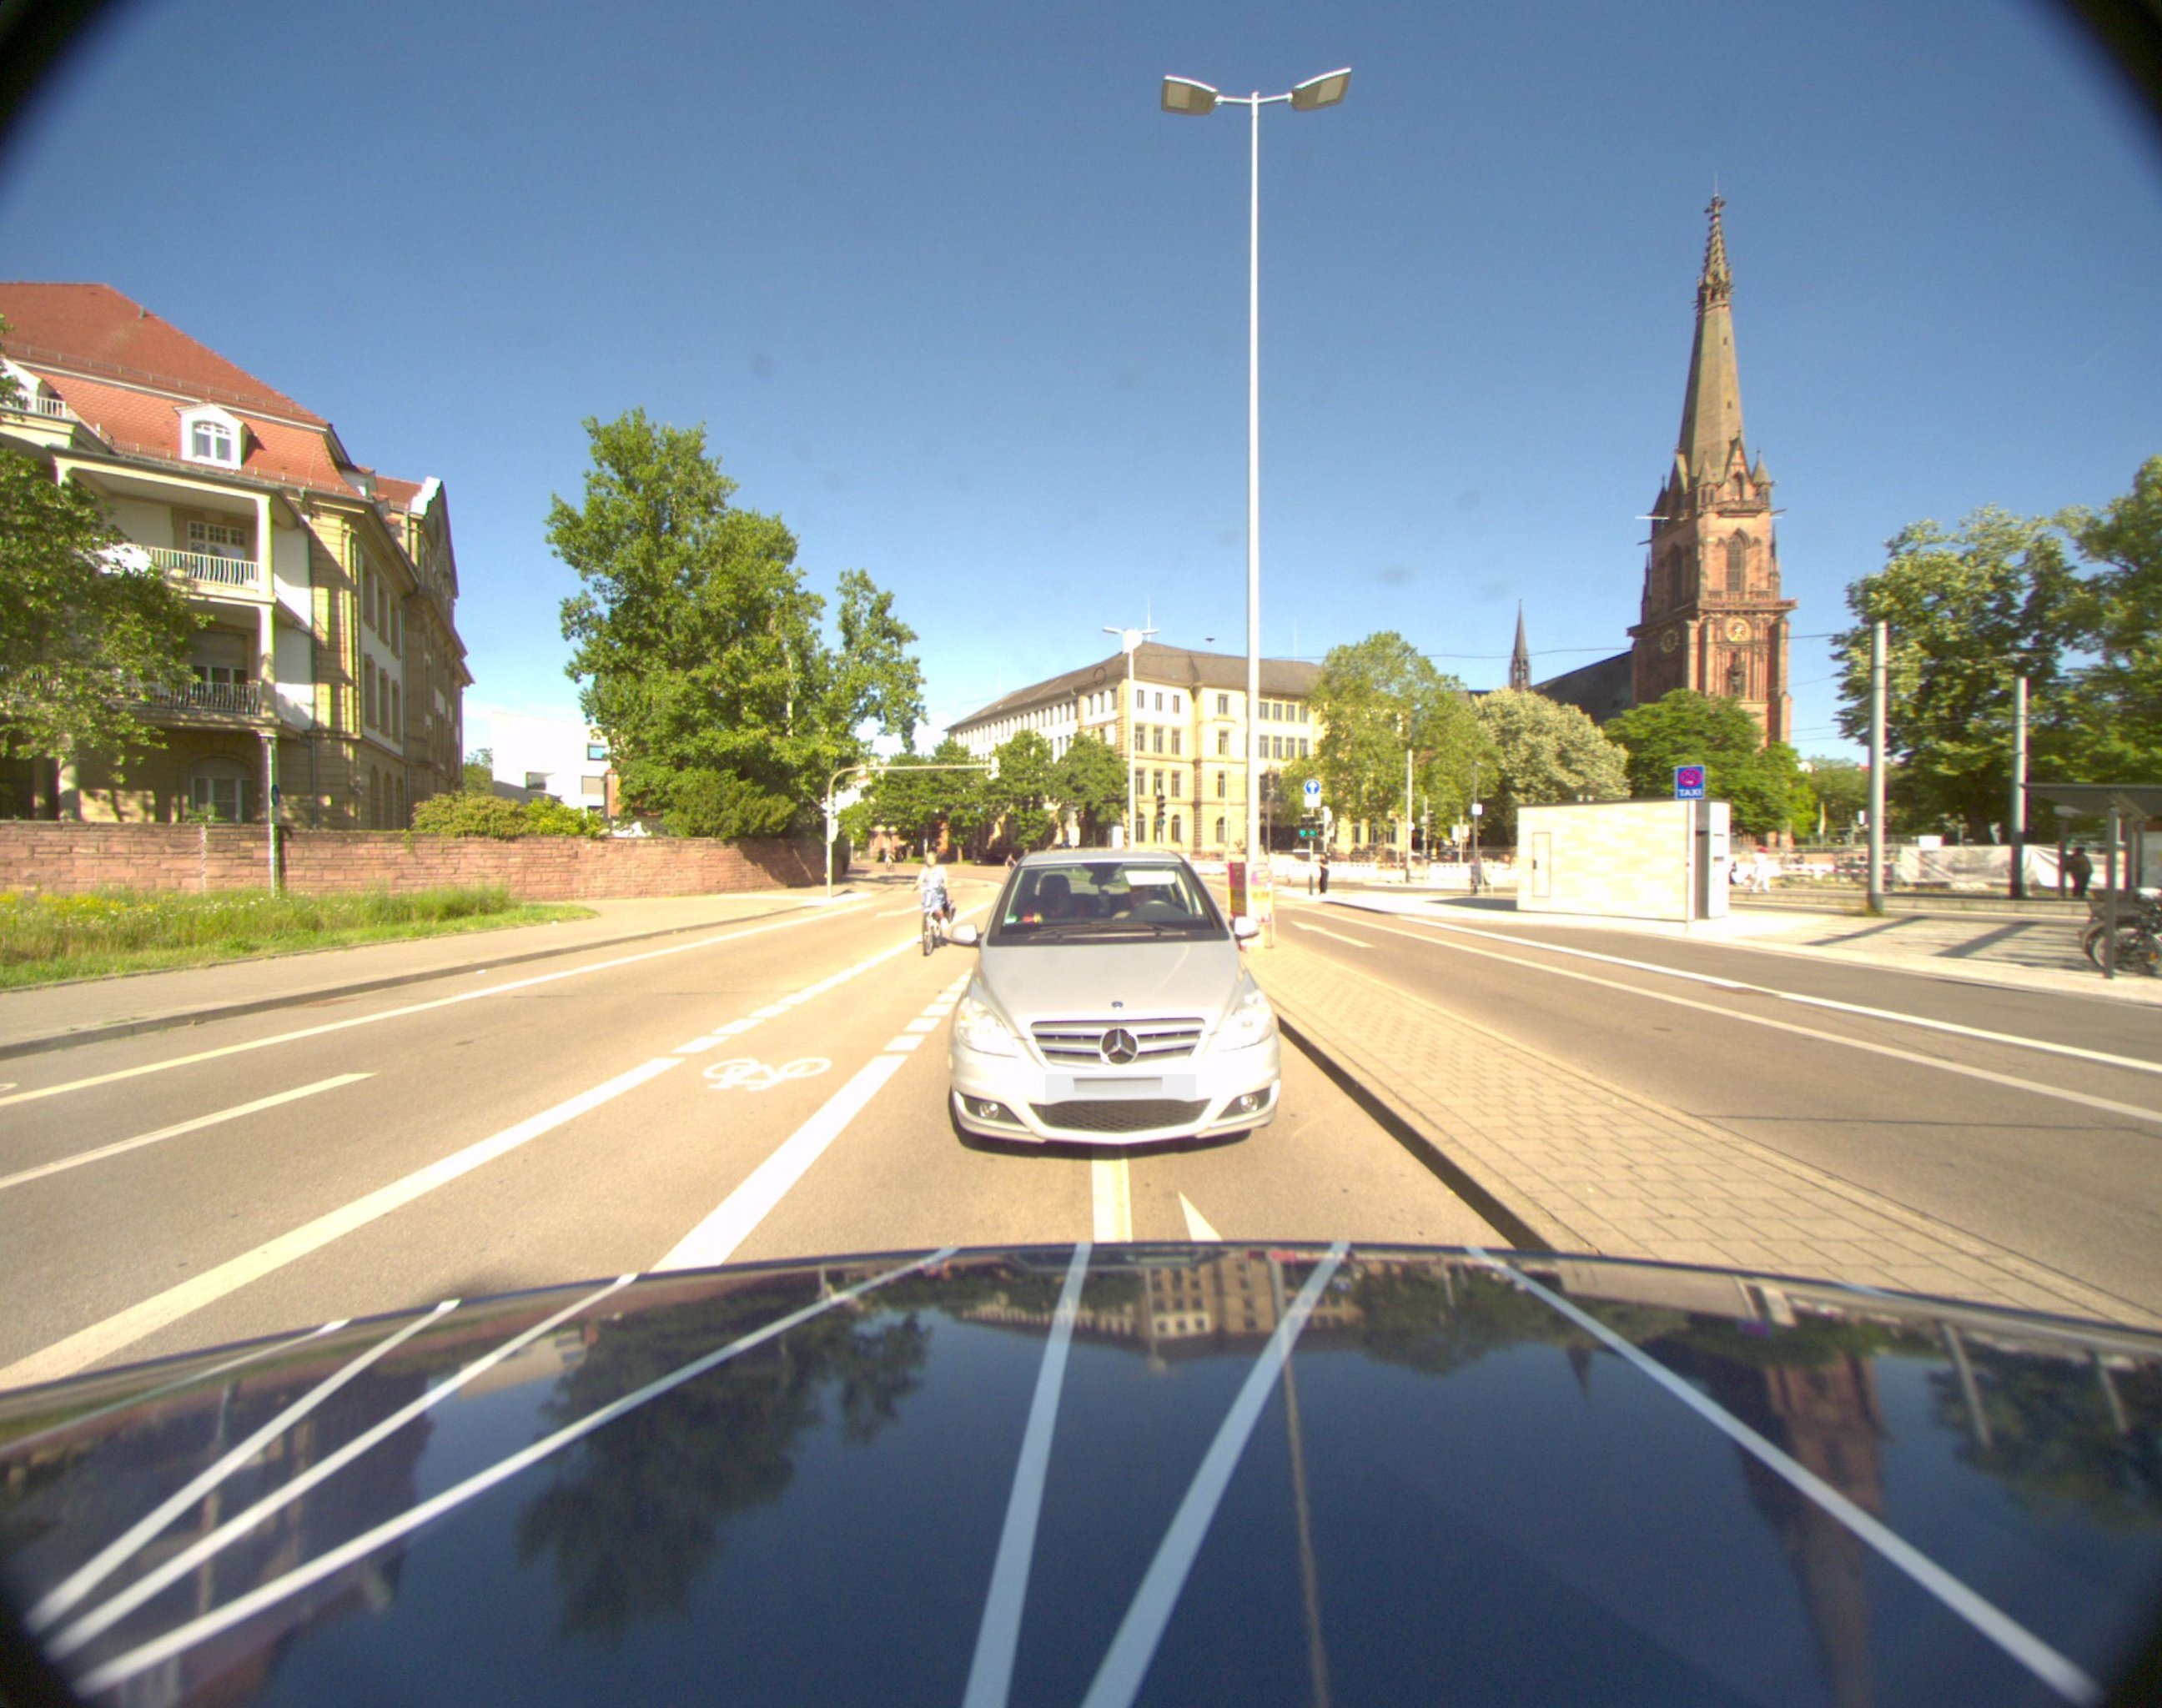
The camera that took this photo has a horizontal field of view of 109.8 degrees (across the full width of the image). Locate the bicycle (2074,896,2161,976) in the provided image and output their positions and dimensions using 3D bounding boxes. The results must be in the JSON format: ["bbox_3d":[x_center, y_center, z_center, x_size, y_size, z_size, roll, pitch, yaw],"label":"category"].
[{"bbox_3d":[15.145,1.163,10.440,0.569,1.032,1.783,1,1,-37],"label":"bicycle"}]

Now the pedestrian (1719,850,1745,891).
[{"bbox_3d":[27.838,0.729,32.481,0.540,1.712,0.680,3,-4,-34],"label":"pedestrian"}]

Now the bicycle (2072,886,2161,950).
[{"bbox_3d":[18.649,1.117,13.151,0.569,1.032,1.783,1,1,-37],"label":"bicycle"}]

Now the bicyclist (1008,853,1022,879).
[{"bbox_3d":[-3.664,0.650,42.043,0.643,1.436,0.953,-1,0,1],"label":"bicyclist"}]

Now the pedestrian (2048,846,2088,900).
[{"bbox_3d":[30.614,0.581,23.571,0.567,1.645,0.518,-2,1,1],"label":"pedestrian"}]

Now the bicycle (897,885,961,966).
[{"bbox_3d":[-2.528,1.155,12.845,0.642,1.158,1.968,-1,1,1],"label":"bicycle"}]

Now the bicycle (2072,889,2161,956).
[{"bbox_3d":[17.692,1.140,12.424,0.569,1.032,1.783,1,1,-37],"label":"bicycle"}]

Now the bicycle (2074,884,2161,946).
[{"bbox_3d":[19.134,1.105,13.496,0.569,1.032,1.783,1,1,-37],"label":"bicycle"}]

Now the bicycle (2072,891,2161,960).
[{"bbox_3d":[17.167,1.151,12.012,0.569,1.032,1.783,1,1,-37],"label":"bicycle"}]

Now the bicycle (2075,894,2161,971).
[{"bbox_3d":[15.699,1.151,10.853,0.569,1.032,1.783,1,1,-37],"label":"bicycle"}]

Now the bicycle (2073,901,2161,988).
[{"bbox_3d":[14.017,1.179,9.591,0.569,1.032,1.783,1,1,-37],"label":"bicycle"}]

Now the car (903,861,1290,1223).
[{"bbox_3d":[0.123,0.899,5.841,1.770,1.584,4.638,-1,1,1],"label":"car"}]

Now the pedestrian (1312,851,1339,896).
[{"bbox_3d":[9.276,0.741,28.872,0.789,1.671,0.648,-2,1,2],"label":"pedestrian"}]

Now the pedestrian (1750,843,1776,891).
[{"bbox_3d":[25.238,0.492,28.117,0.537,1.712,0.684,-1,-4,31],"label":"pedestrian"}]

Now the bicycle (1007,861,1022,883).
[{"bbox_3d":[-3.660,0.996,42.077,0.642,1.158,1.870,-1,0,1],"label":"bicycle"}]

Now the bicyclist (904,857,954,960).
[{"bbox_3d":[-2.539,0.894,12.776,0.643,1.653,0.776,-1,2,1],"label":"bicyclist"}]

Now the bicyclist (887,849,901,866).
[{"bbox_3d":[-16.853,0.305,68.350,0.918,1.543,0.780,-1,1,15],"label":"bicyclist"}]

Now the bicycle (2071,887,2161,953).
[{"bbox_3d":[18.165,1.128,12.789,0.569,1.032,1.783,1,1,-37],"label":"bicycle"}]

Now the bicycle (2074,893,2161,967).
[{"bbox_3d":[16.196,1.150,11.245,0.569,1.032,1.783,1,1,-37],"label":"bicycle"}]

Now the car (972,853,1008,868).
[{"bbox_3d":[-10.820,0.756,90.486,1.994,1.805,3.809,1,1,44],"label":"car"}]

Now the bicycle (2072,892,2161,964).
[{"bbox_3d":[16.674,1.160,11.637,0.569,1.032,1.783,1,1,-37],"label":"bicycle"}]

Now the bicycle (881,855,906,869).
[{"bbox_3d":[-16.862,0.733,68.366,1.964,1.158,0.780,-1,1,15],"label":"bicycle"}]

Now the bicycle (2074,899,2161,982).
[{"bbox_3d":[14.541,1.169,9.982,0.569,1.032,1.783,1,1,-37],"label":"bicycle"}]
